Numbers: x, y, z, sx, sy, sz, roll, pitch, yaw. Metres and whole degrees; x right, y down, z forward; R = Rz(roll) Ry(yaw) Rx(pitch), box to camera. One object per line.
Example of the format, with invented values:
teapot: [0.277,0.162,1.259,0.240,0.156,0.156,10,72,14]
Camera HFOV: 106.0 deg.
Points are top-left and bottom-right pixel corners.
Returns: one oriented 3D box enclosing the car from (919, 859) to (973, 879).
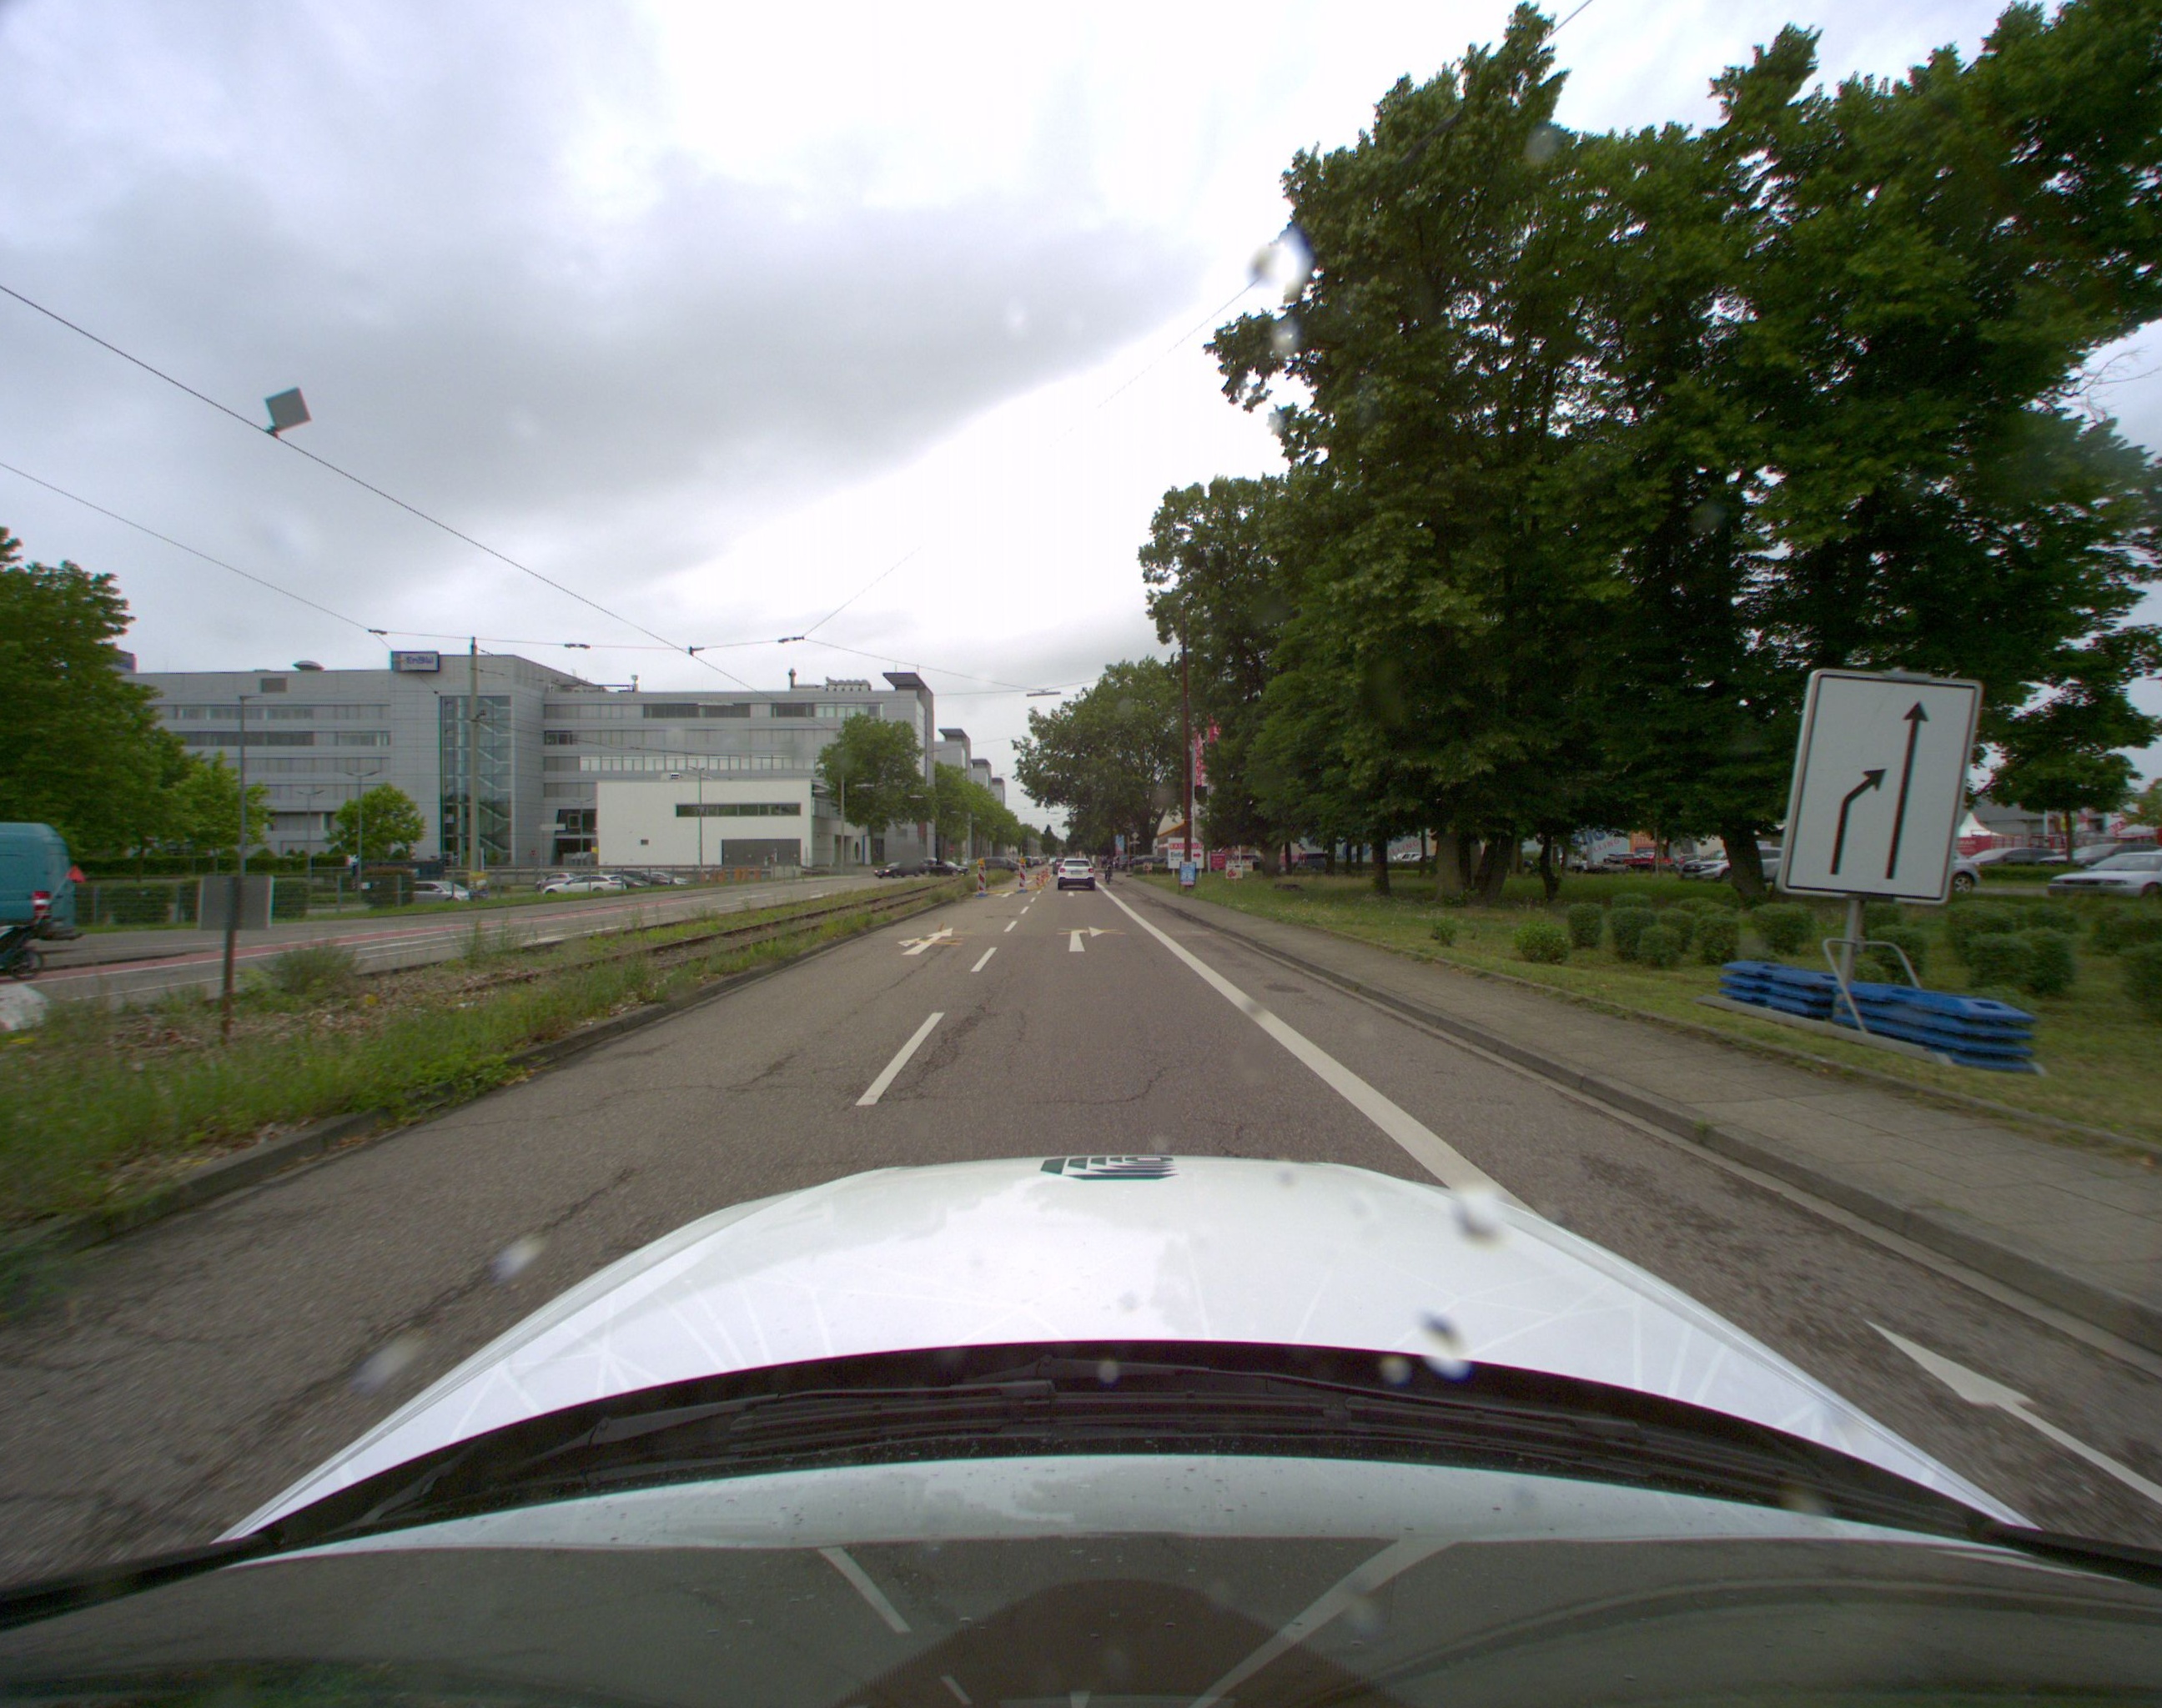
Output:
car: [-11.303,1.276,68.334,4.081,1.475,1.834,-2,-2,21]

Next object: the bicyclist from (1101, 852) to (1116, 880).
bicyclist: [1.632,0.699,48.717,0.814,1.630,1.234,-1,-1,-1]

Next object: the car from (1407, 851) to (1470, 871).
car: [30.808,0.594,70.330,4.540,1.572,2.072,-1,-1,-2]

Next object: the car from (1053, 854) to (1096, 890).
car: [-0.351,0.838,39.491,1.820,1.600,3.770,1,0,-4]

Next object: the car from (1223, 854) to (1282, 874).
car: [14.576,0.838,69.321,4.540,1.572,1.991,-1,-1,-2]

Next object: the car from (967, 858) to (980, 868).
car: [-19.390,1.619,147.320,1.872,1.632,4.201,-1,0,-2]

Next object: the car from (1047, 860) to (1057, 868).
car: [-5.413,1.819,153.008,1.792,1.513,3.700,1,0,-4]

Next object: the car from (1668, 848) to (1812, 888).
car: [26.719,0.566,33.084,4.524,1.497,1.956,1,-1,-6]

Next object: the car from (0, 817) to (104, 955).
car: [-24.349,0.682,16.198,5.981,2.826,2.308,0,-1,-42]

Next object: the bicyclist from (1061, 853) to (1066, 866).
bicyclist: [-2.521,0.821,115.424,0.669,1.815,0.759,1,0,-4]

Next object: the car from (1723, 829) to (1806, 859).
car: [60.283,-0.843,71.889,5.727,2.537,2.072,-1,-1,-2]

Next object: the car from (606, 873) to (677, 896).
car: [-31.690,2.196,58.808,3.979,1.485,1.910,-1,-1,-4]

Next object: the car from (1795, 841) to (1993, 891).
car: [27.128,0.411,27.297,4.664,1.497,2.168,1,-1,-3]

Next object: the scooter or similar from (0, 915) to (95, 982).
scooter or similar: [-16.644,1.462,12.794,0.843,0.907,1.195,1,0,-7]

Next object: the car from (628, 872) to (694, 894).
car: [-31.914,2.188,61.928,3.979,1.485,1.910,-1,-1,-4]

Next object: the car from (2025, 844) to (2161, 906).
car: [27.525,0.564,21.049,4.437,1.497,1.927,1,-1,-6]

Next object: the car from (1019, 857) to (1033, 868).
car: [-8.355,1.336,123.811,1.872,1.632,3.996,-1,0,-2]

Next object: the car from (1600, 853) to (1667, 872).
car: [48.250,0.774,71.195,4.540,1.572,2.072,-1,-1,-2]

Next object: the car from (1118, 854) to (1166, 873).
car: [5.690,0.913,76.624,4.301,1.677,1.992,-1,-1,-1]

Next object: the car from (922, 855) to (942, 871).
car: [-17.243,1.083,94.551,1.816,1.783,4.419,-1,-1,-5]

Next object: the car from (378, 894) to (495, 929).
car: [-31.824,2.821,40.298,4.197,1.532,1.913,-1,-1,0]

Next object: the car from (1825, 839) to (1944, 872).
car: [43.187,0.073,43.829,4.548,1.677,2.150,-1,-1,-7]

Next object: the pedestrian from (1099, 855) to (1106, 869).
pedestrian: [2.671,0.949,101.176,0.759,1.705,0.680,-1,-1,-6]

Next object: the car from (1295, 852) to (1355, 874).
car: [20.977,0.786,70.117,4.540,1.790,2.072,0,0,-2]

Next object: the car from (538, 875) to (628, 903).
car: [-31.771,2.233,52.045,4.518,1.634,1.910,-1,-1,-4]

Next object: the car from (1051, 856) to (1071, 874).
car: [-1.797,0.958,72.231,1.681,1.513,3.700,1,0,-4]

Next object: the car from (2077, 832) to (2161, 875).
car: [43.823,-0.035,33.073,4.548,1.677,2.150,-1,-1,-7]

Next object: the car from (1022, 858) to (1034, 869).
car: [-8.399,1.533,129.623,1.872,1.763,3.996,-1,0,-2]

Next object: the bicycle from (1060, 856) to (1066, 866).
bicycle: [-2.515,1.026,115.284,0.669,1.394,2.164,1,0,-4]

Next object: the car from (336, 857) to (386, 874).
car: [-88.585,1.381,100.256,1.987,2.014,4.649,-1,0,0]

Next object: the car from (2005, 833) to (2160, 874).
car: [43.561,-0.015,35.490,4.548,1.677,2.150,-1,-1,-7]

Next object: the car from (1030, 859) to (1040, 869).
car: [-8.898,1.948,158.003,1.872,1.763,3.996,-1,0,-2]

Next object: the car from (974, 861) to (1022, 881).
car: [-7.044,1.446,69.070,3.873,1.556,1.824,1,-1,-2]

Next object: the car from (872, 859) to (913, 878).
car: [-15.801,1.215,68.456,1.809,1.472,4.437,-1,-1,9]

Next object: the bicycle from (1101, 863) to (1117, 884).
bicycle: [1.643,1.165,48.669,0.814,1.212,2.682,-1,-1,-1]
